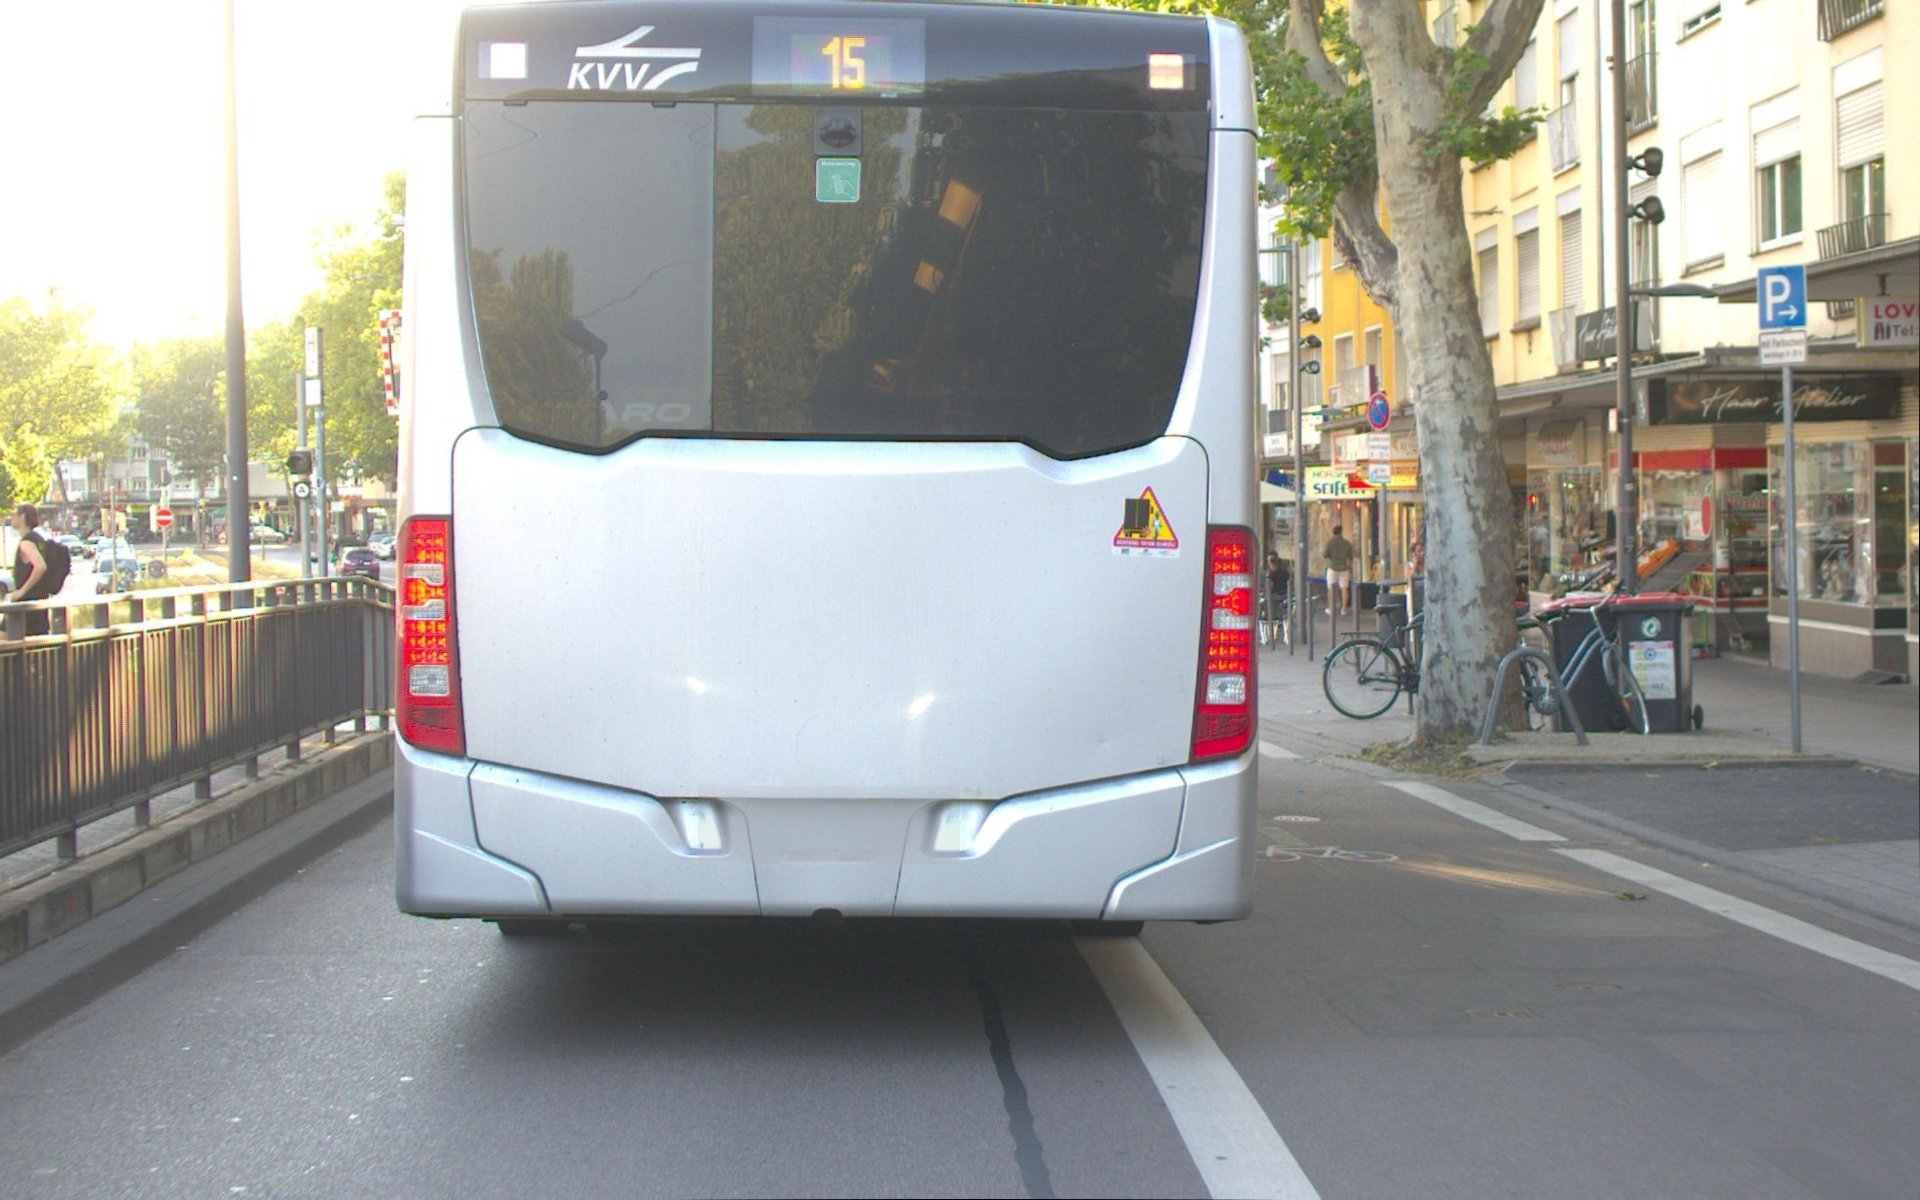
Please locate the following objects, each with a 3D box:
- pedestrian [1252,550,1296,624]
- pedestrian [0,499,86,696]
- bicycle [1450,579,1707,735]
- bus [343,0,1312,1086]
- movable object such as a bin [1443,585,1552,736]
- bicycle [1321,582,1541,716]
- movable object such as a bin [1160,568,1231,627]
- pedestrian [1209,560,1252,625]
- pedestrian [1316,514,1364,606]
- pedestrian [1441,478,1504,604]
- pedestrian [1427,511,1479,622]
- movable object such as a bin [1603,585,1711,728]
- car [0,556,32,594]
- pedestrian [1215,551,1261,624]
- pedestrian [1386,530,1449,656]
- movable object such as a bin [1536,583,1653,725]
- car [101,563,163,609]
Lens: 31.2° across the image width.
[{"bbox_3d":[5.461,-0.238,59.863,0.583,1.270,0.759,1,1,-8],"label":"pedestrian"},{"bbox_3d":[-8.727,-0.032,32.609,0.741,1.842,0.590,-1,1,-7],"label":"pedestrian"},{"bbox_3d":[4.494,0.423,25.077,1.717,1.114,0.745,0,-3,-1],"label":"bicycle"},{"bbox_3d":[-0.570,-0.273,13.160,2.677,3.073,7.115,-1,1,-3],"label":"bus"},{"bbox_3d":[4.190,0.464,26.840,0.722,1.098,0.644,-5,1,5],"label":"movable object such as a bin"},{"bbox_3d":[4.274,0.444,31.273,1.907,1.101,0.518,-3,1,5],"label":"bicycle"},{"bbox_3d":[4.195,-0.044,61.353,0.926,1.020,0.840,1,1,-32],"label":"movable object such as a bin"},{"bbox_3d":[4.763,-0.136,60.513,0.583,1.111,0.751,1,1,-8],"label":"pedestrian"},{"bbox_3d":[7.540,-0.794,68.195,0.706,1.785,0.788,-4,1,-3],"label":"pedestrian"},{"bbox_3d":[6.613,-0.761,44.359,0.622,1.581,0.627,-3,1,-3],"label":"pedestrian"},{"bbox_3d":[7.998,-0.544,55.787,0.636,1.797,0.626,0,1,27],"label":"pedestrian"},{"bbox_3d":[5.421,0.435,26.735,0.723,1.068,0.643,-2,0,17],"label":"movable object such as a bin"},{"bbox_3d":[-37.196,-0.915,128.367,4.540,1.407,1.999,-2,1,-45],"label":"car"},{"bbox_3d":[4.698,-0.221,58.127,0.605,1.221,0.745,-1,1,-8],"label":"pedestrian"},{"bbox_3d":[5.888,-0.092,44.279,0.635,1.581,0.627,-3,1,-3],"label":"pedestrian"},{"bbox_3d":[5.009,0.422,27.172,0.722,1.068,0.644,-3,1,-3],"label":"movable object such as a bin"},{"bbox_3d":[-29.574,-0.519,122.807,1.722,1.504,3.477,-3,1,-8],"label":"car"}]
